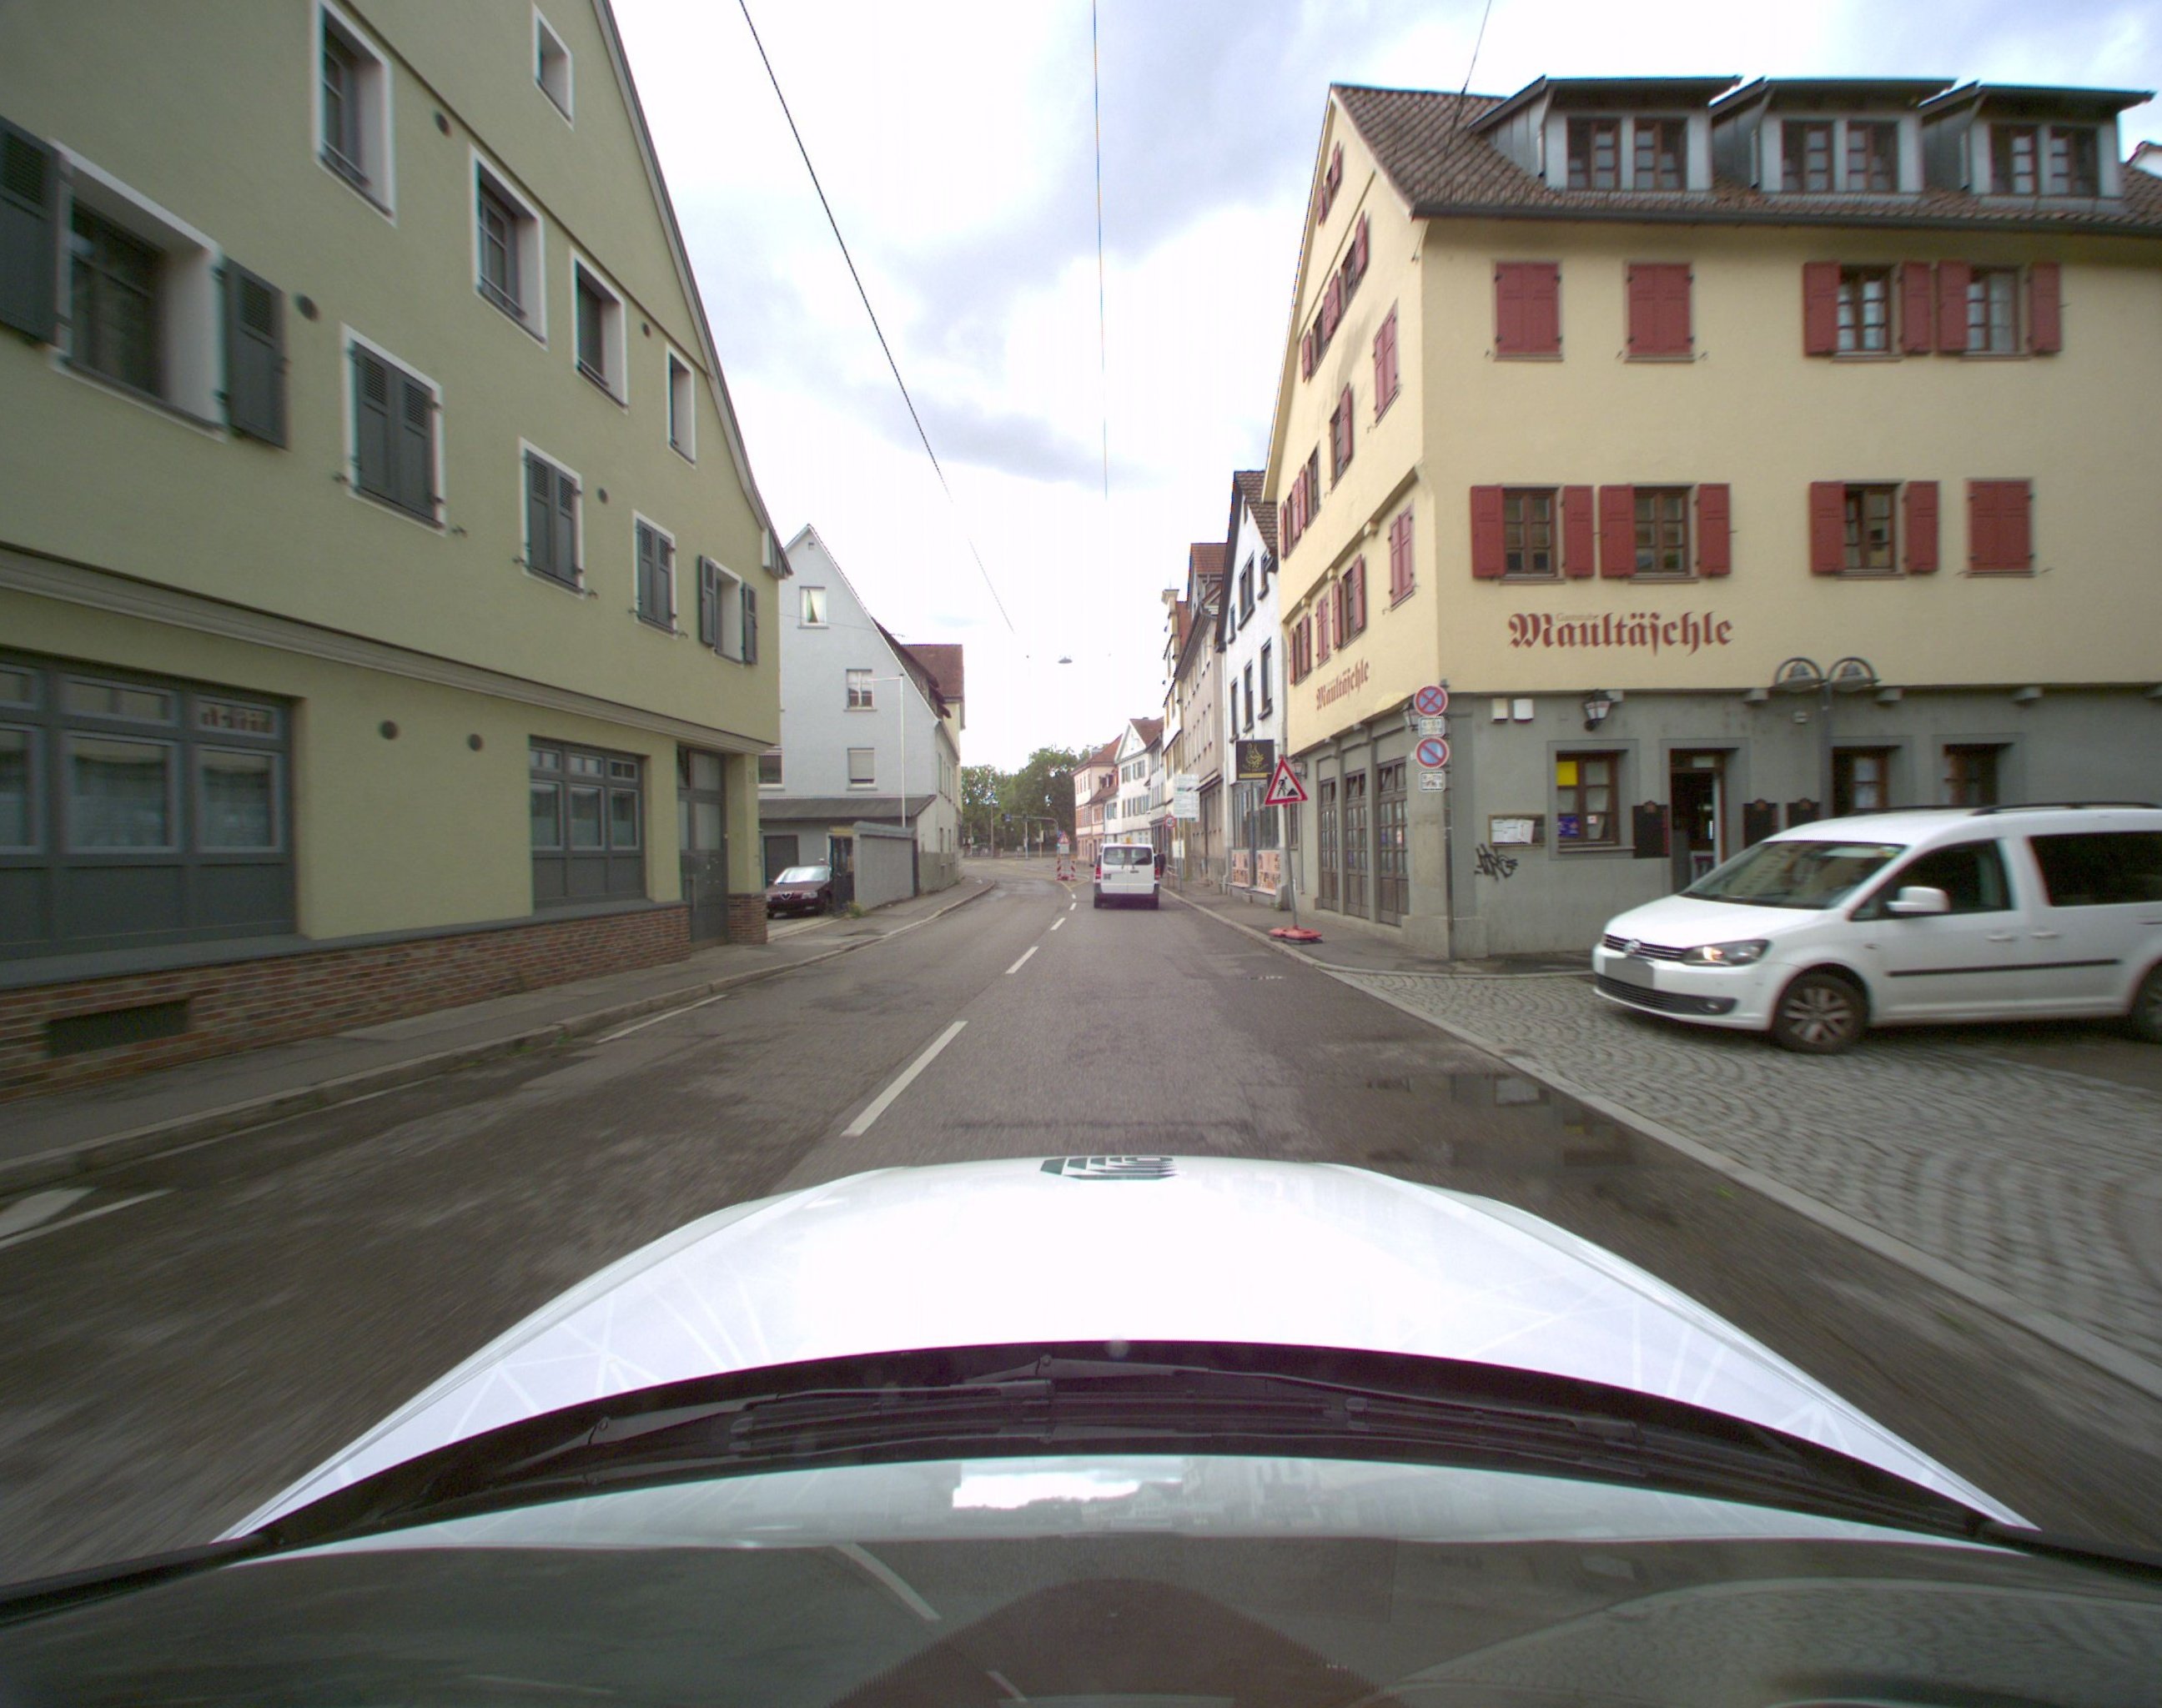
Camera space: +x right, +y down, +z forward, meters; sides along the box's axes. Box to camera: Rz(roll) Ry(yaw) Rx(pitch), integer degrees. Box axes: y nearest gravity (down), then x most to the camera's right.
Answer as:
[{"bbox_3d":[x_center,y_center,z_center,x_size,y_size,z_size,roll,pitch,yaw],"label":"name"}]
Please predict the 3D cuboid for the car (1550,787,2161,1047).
[{"bbox_3d":[6.576,0.413,6.868,4.231,1.797,1.847,-1,1,-3],"label":"car"}]

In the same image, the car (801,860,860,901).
[{"bbox_3d":[-8.873,0.893,29.115,1.646,1.354,3.983,0,-1,-12],"label":"car"}]

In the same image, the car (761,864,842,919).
[{"bbox_3d":[-7.744,0.981,22.857,1.647,1.354,3.983,-1,-1,-12],"label":"car"}]

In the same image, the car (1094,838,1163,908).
[{"bbox_3d":[1.343,0.530,24.590,1.866,1.912,4.000,-1,0,0],"label":"car"}]

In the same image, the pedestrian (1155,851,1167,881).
[{"bbox_3d":[4.780,0.709,48.504,0.641,1.747,0.562,0,-1,-3],"label":"pedestrian"}]
